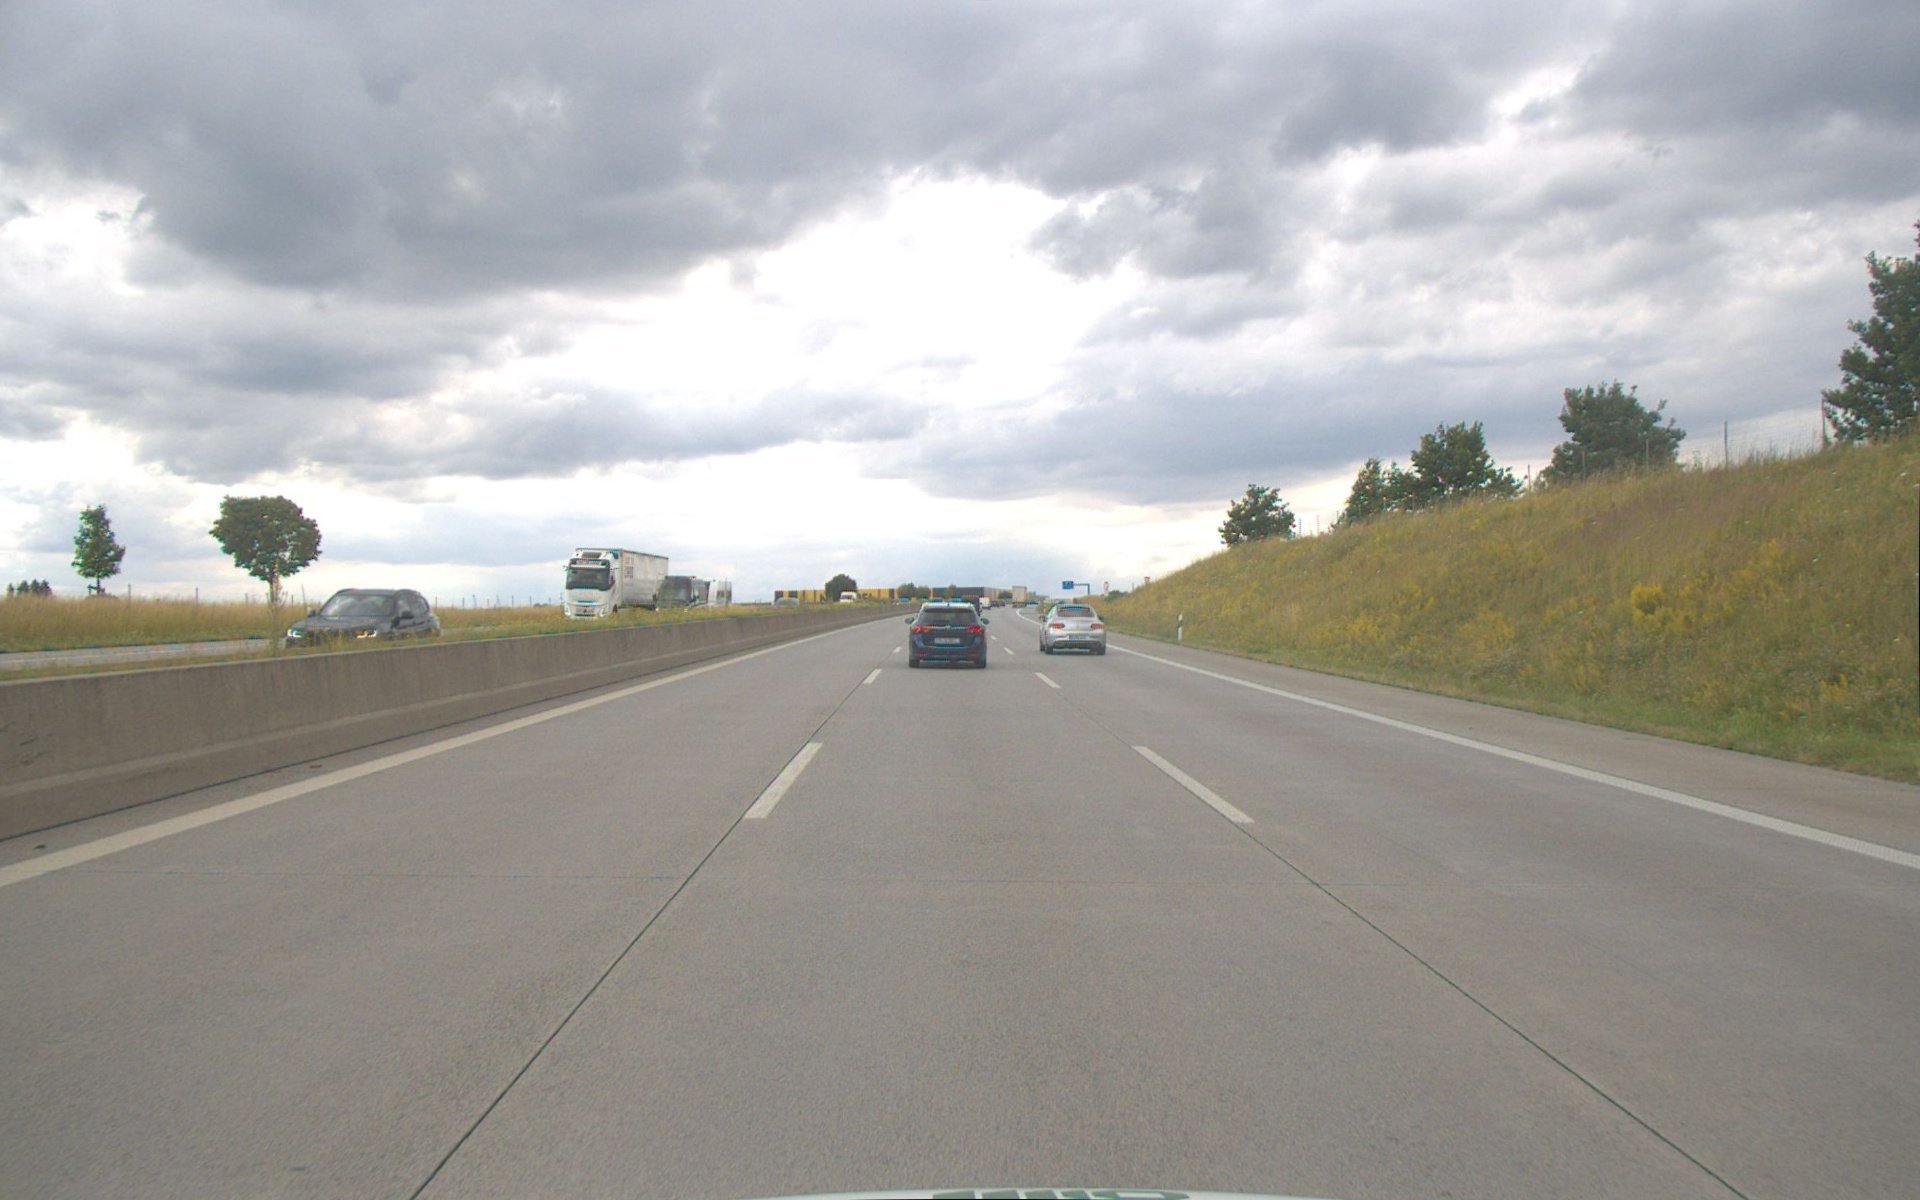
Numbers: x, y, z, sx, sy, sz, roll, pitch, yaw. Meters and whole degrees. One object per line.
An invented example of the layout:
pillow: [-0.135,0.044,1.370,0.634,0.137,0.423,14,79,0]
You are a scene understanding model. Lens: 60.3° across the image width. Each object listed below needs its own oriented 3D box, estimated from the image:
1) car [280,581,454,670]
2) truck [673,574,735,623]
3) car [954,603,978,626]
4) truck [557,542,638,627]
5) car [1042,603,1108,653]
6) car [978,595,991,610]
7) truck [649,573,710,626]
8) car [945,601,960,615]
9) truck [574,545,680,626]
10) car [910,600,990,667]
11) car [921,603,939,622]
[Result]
car: [-11.787,0.472,33.200,1.953,1.668,4.397,0,0,-1]
truck: [-15.221,-0.091,98.829,2.562,2.773,6.919,1,0,0]
car: [0.512,1.307,152.254,1.954,2.049,3.997,1,-1,-3]
truck: [-19.309,-0.771,88.427,2.782,4.330,6.092,1,-1,1]
car: [3.367,0.807,49.025,1.751,1.428,4.222,0,0,1]
car: [3.730,0.387,250.970,1.952,2.049,4.000,1,-1,2]
truck: [-15.361,-0.046,90.822,2.205,2.773,7.125,1,0,-1]
car: [-1.096,1.200,241.224,1.954,2.049,3.997,1,-1,-3]
truck: [-19.110,-0.651,96.164,2.782,4.330,14.568,1,-1,1]
car: [-0.225,0.747,38.108,1.738,1.438,3.999,0,0,0]
car: [-3.356,1.392,183.714,2.005,2.049,3.998,1,-1,-2]
